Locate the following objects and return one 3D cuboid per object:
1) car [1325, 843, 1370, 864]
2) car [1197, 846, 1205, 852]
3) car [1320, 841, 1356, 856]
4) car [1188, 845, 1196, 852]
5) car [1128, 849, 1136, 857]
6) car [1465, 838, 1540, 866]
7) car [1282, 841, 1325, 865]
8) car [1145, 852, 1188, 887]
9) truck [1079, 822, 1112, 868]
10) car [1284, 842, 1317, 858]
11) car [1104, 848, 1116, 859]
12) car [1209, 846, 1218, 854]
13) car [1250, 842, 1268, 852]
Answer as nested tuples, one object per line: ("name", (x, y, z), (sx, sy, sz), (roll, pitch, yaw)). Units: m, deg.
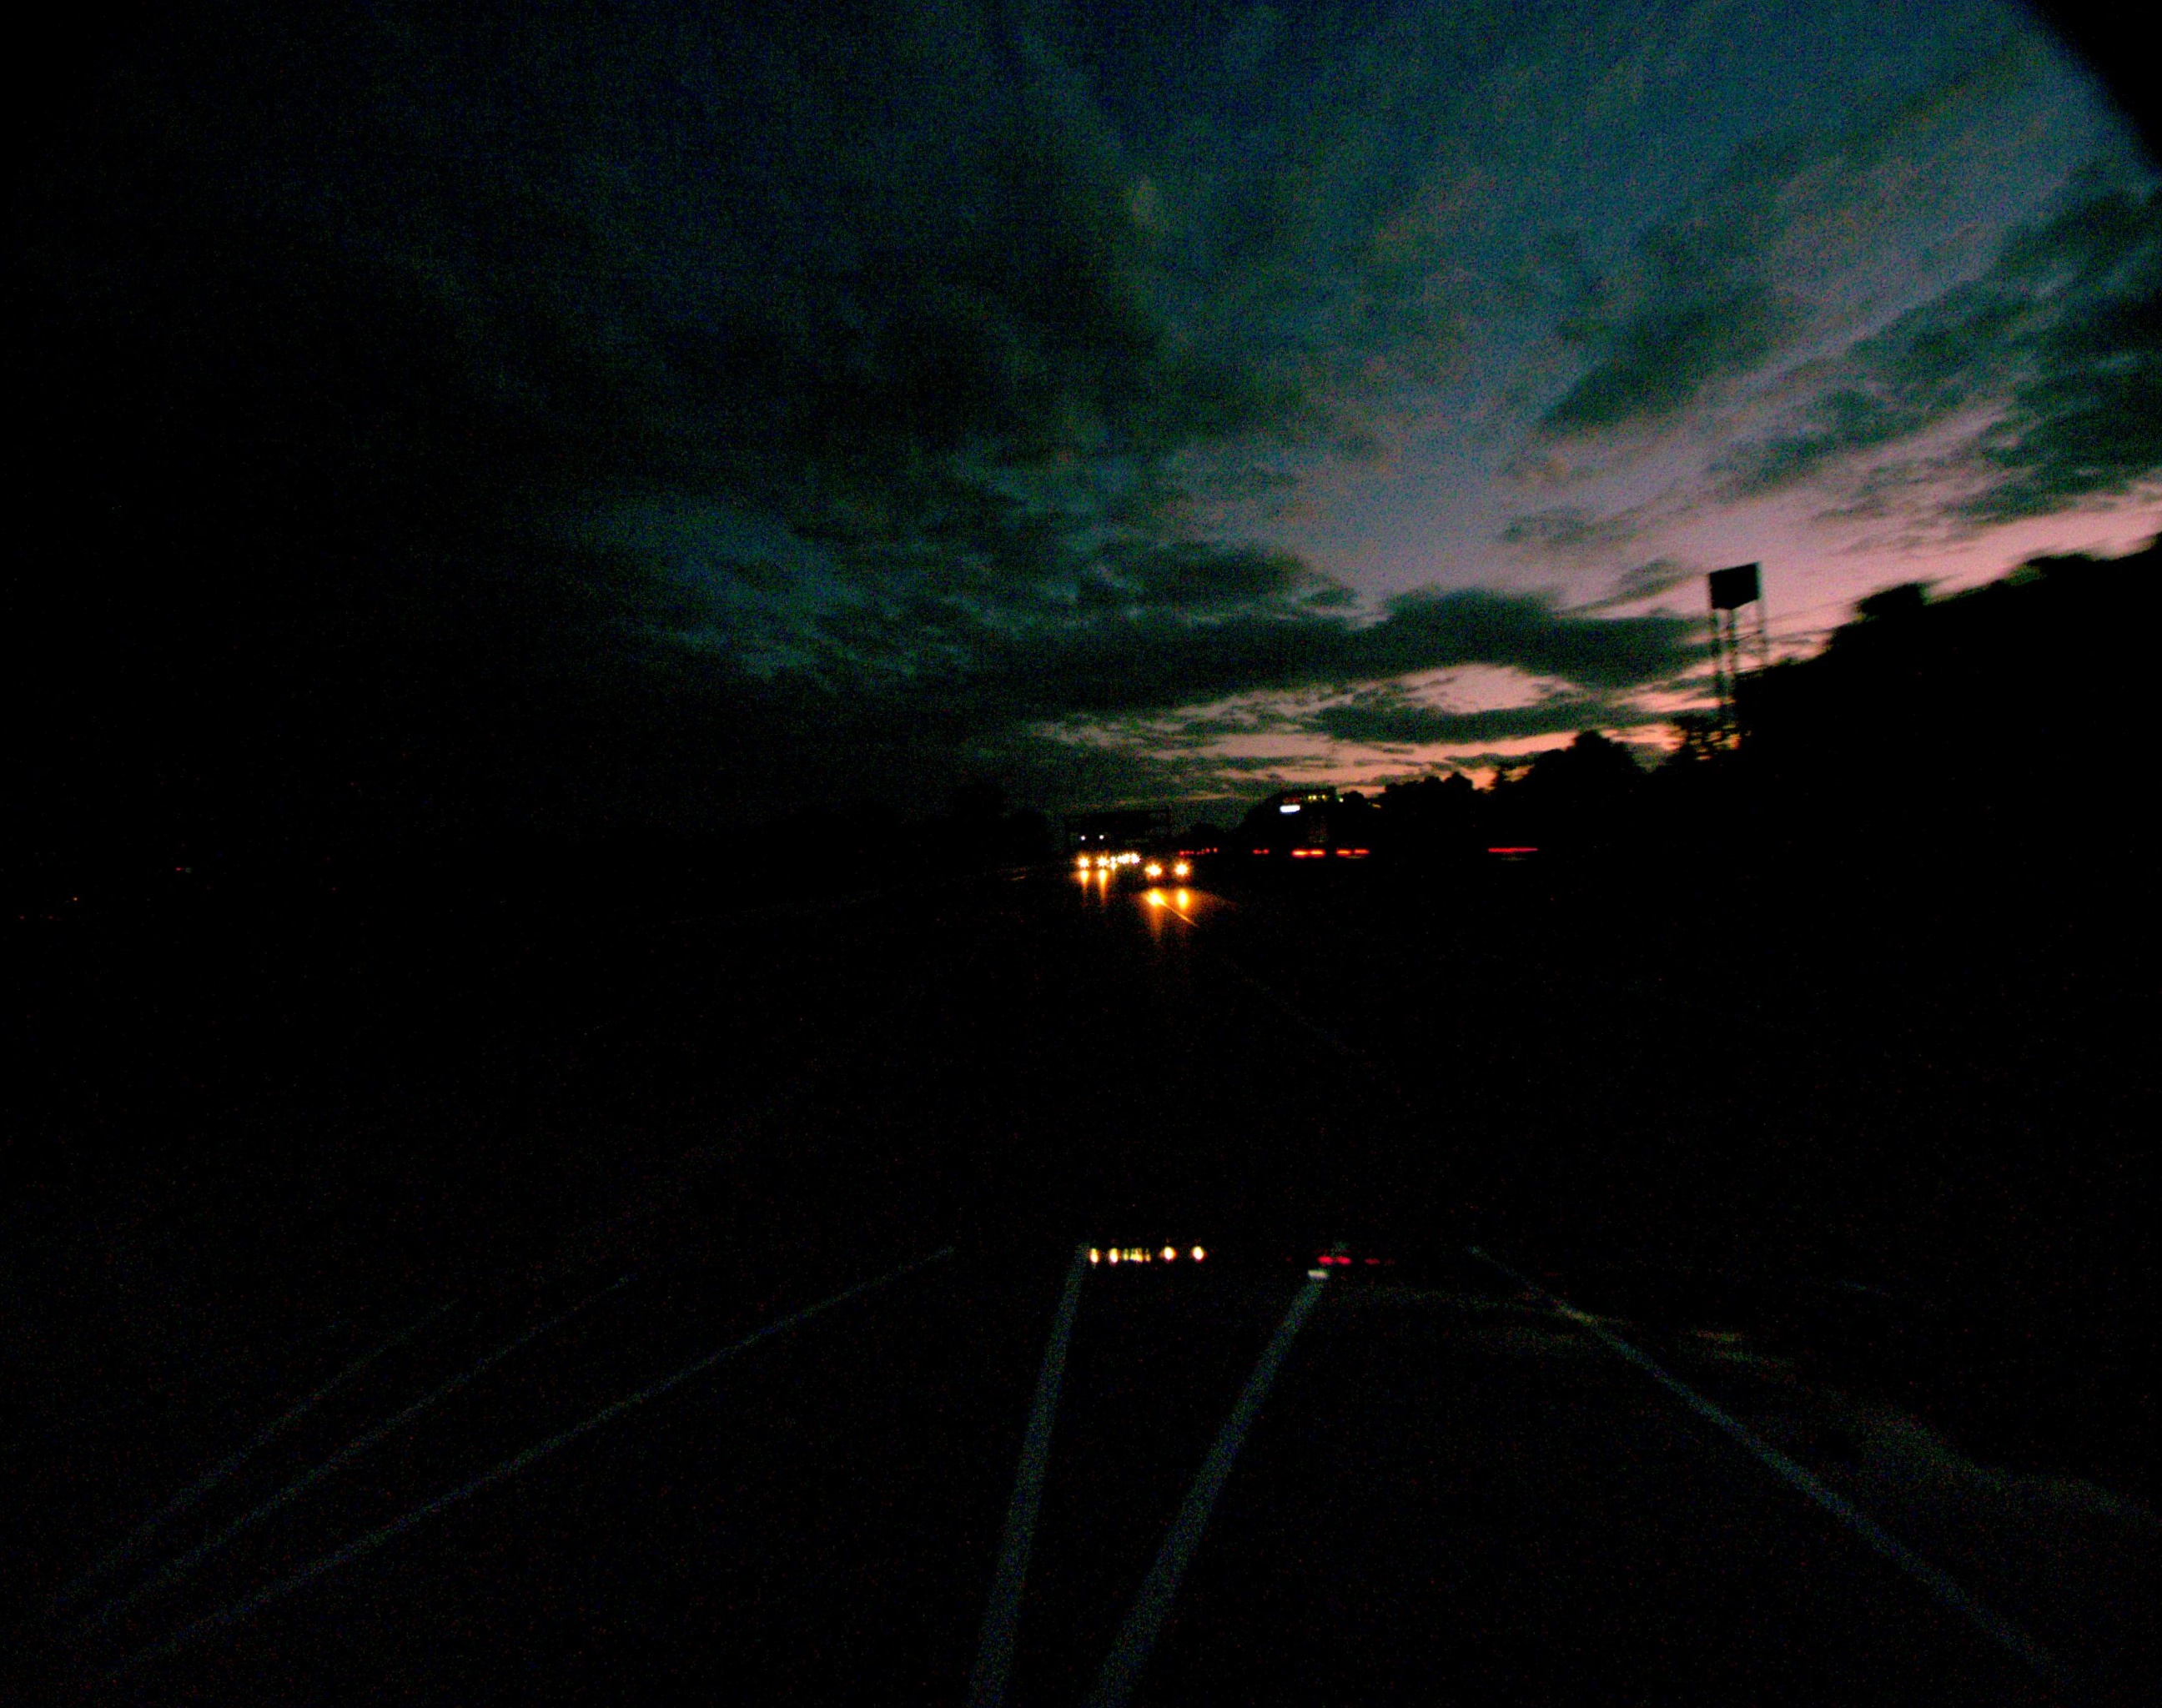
("car", (20.891, -0.082, 59.803), (1.998, 1.496, 4.558), (-2, 1, 1))
("car", (35.661, -1.410, 225.754), (1.792, 1.627, 4.582), (-2, 1, 4))
("car", (26.105, -0.541, 77.426), (1.998, 1.393, 5.023), (-2, 1, 1))
("car", (37.771, -1.907, 258.591), (1.998, 2.002, 4.000), (-2, 1, 2))
("car", (11.871, -0.238, 176.490), (1.653, 1.654, 3.775), (-2, 1, 3))
("car", (24.001, -0.152, 43.441), (1.998, 1.451, 4.236), (-2, 1, 1))
("car", (17.824, -0.099, 61.085), (1.998, 1.725, 5.050), (-2, 1, 1))
("car", (4.078, 0.717, 36.610), (1.717, 1.471, 4.000), (-2, 1, 2))
("truck", (1.490, -0.909, 80.086), (3.026, 4.372, 11.614), (-2, 1, 0))
("car", (22.077, -0.405, 76.601), (1.998, 1.464, 5.023), (-2, 1, 1))
("car", (4.938, -0.037, 129.775), (1.998, 1.715, 4.000), (-2, 1, 3))
("car", (32.340, -1.063, 185.690), (1.792, 1.799, 4.582), (-2, 1, 4))
("car", (27.477, -1.087, 117.573), (1.792, 1.534, 4.581), (-2, 1, 1))
